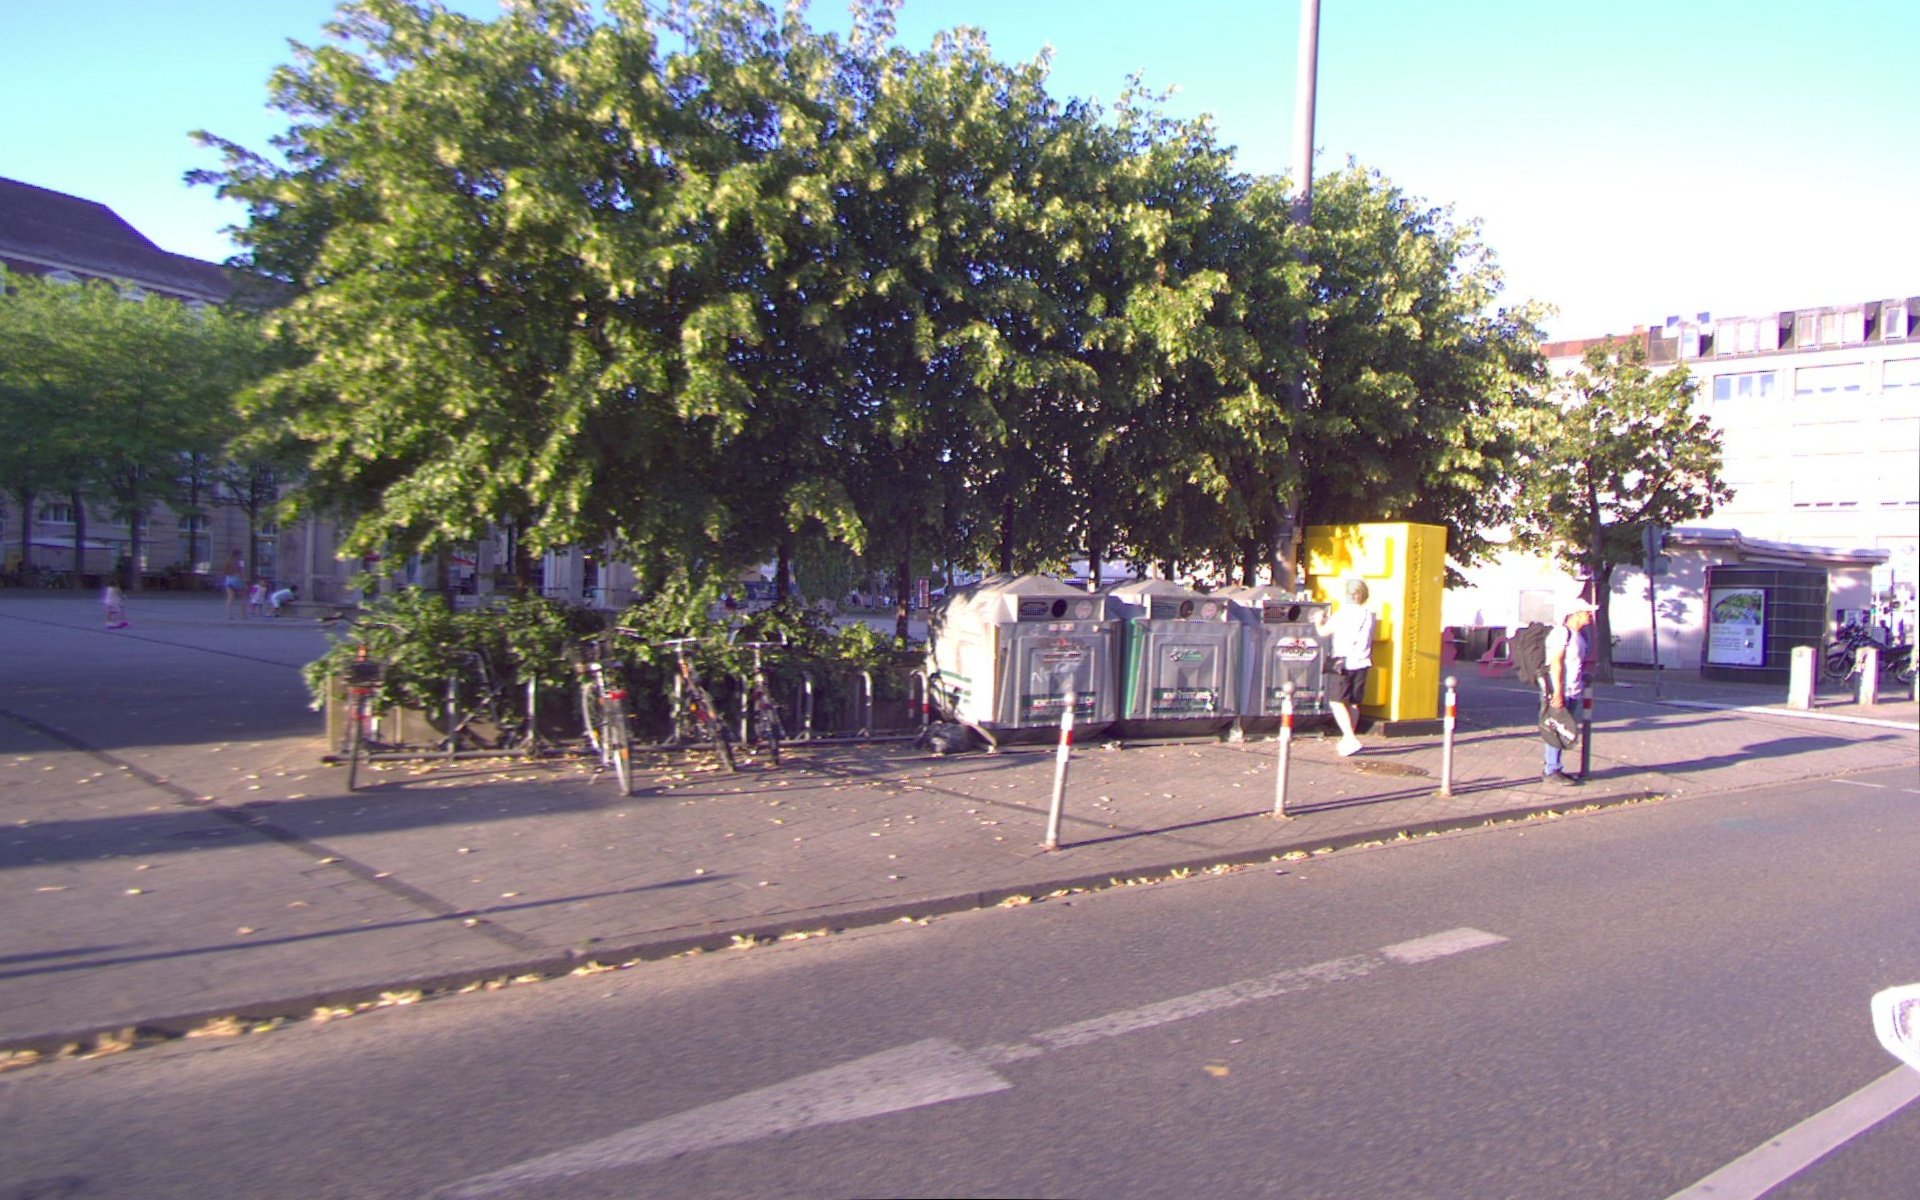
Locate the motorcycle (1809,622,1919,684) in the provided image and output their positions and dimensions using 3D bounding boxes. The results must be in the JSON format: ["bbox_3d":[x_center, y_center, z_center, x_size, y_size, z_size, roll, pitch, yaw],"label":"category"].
[{"bbox_3d":[23.281,1.322,25.501,1.100,1.445,2.401,1,0,-30],"label":"motorcycle"}]

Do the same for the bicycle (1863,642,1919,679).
[{"bbox_3d":[26.015,1.670,27.135,0.693,0.931,2.314,1,0,-32],"label":"bicycle"}]

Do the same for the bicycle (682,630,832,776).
[{"bbox_3d":[-1.857,0.844,8.914,0.629,0.984,2.032,1,3,-31],"label":"bicycle"}]

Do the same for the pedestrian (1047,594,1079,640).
[{"bbox_3d":[4.082,0.671,39.848,1.169,1.801,0.710,2,0,5],"label":"pedestrian"}]

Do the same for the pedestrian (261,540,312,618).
[{"bbox_3d":[-17.394,-0.541,25.936,0.716,1.974,0.805,2,1,20],"label":"pedestrian"}]

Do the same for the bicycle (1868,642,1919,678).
[{"bbox_3d":[26.817,1.683,27.710,0.693,0.931,2.509,1,0,-32],"label":"bicycle"}]

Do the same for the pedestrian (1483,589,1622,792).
[{"bbox_3d":[5.438,0.783,9.233,0.710,1.743,0.874,1,1,-41],"label":"pedestrian"}]

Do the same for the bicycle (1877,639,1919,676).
[{"bbox_3d":[27.708,1.672,28.383,0.923,1.011,2.509,1,0,-32],"label":"bicycle"}]

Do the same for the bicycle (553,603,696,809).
[{"bbox_3d":[-2.678,0.715,7.818,0.512,1.254,2.418,1,2,-31],"label":"bicycle"}]

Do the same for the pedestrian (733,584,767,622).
[{"bbox_3d":[-8.769,0.120,41.905,0.963,1.521,0.988,2,0,28],"label":"pedestrian"}]

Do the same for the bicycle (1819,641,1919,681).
[{"bbox_3d":[24.670,1.610,26.825,0.693,0.931,2.509,1,0,-32],"label":"bicycle"}]

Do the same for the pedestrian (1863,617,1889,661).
[{"bbox_3d":[35.473,1.503,38.906,0.539,1.632,0.642,2,0,26],"label":"pedestrian"}]

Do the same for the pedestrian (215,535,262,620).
[{"bbox_3d":[-17.233,-0.524,24.011,0.720,1.974,0.800,1,1,-22],"label":"pedestrian"}]

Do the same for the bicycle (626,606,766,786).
[{"bbox_3d":[-2.307,0.718,8.535,0.457,1.254,2.418,1,1,-31],"label":"bicycle"}]

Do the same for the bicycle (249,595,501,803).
[{"bbox_3d":[-4.334,0.638,7.722,0.801,1.301,2.507,1,1,-9],"label":"bicycle"}]

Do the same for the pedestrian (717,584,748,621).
[{"bbox_3d":[-9.619,0.110,42.447,0.830,1.521,0.947,2,0,30],"label":"pedestrian"}]

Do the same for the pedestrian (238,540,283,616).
[{"bbox_3d":[-18.647,-0.578,26.779,0.790,1.974,0.686,2,1,31],"label":"pedestrian"}]

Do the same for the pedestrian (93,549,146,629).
[{"bbox_3d":[-17.637,-0.226,21.088,0.789,1.632,0.526,2,1,22],"label":"pedestrian"}]

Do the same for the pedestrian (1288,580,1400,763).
[{"bbox_3d":[3.915,0.687,10.237,0.857,1.743,0.757,2,1,35],"label":"pedestrian"}]
